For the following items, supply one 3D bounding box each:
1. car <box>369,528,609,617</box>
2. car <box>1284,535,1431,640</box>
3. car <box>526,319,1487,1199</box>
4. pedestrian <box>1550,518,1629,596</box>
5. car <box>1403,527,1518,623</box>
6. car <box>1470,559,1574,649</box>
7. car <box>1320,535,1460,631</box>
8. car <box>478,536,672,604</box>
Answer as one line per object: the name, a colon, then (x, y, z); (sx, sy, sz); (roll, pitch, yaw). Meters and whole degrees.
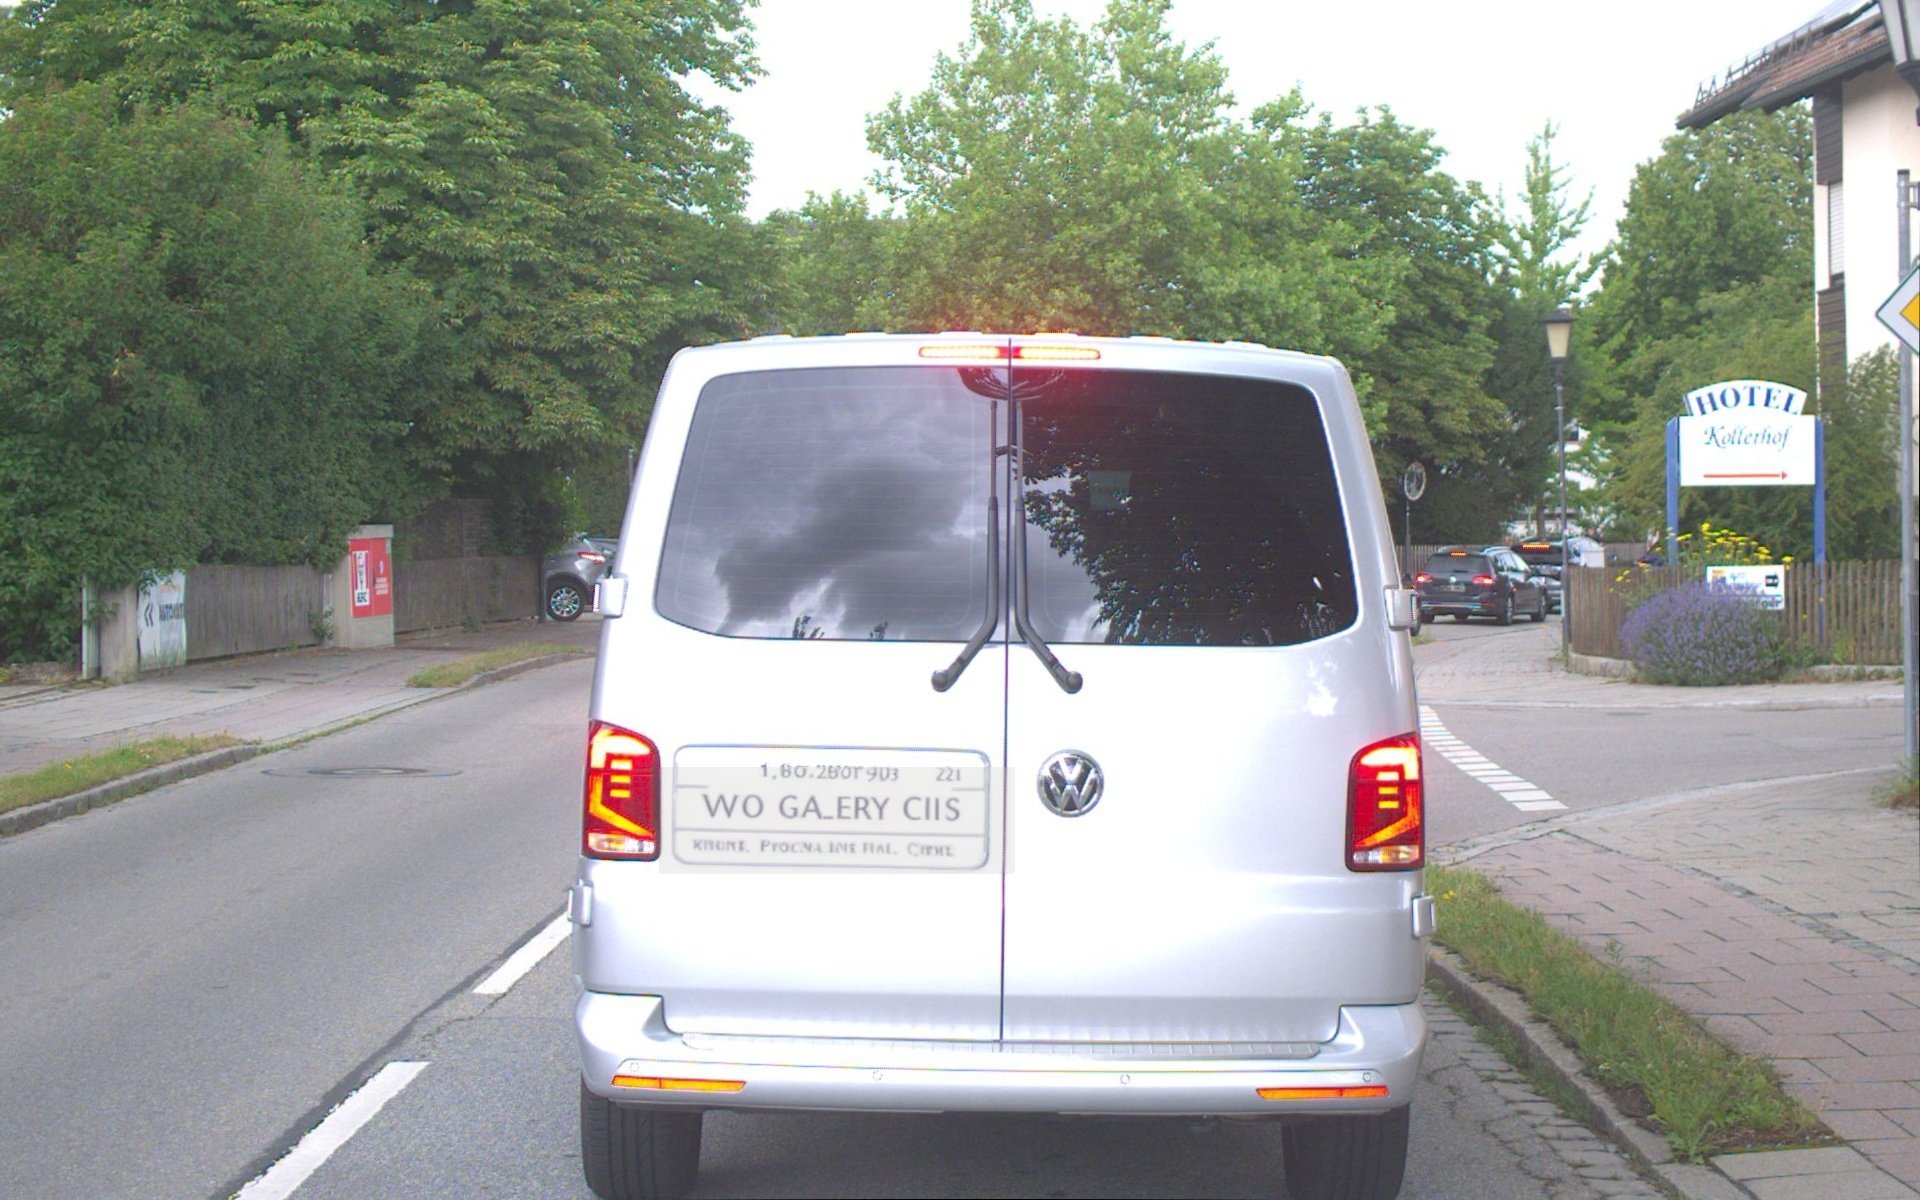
car: (-8.044, -0.479, 58.715); (3.986, 1.481, 2.001); (0, 1, -8)
car: (6.073, -0.214, 52.155); (1.882, 1.530, 3.919); (0, 1, 12)
car: (0.100, 0.387, 8.737); (1.881, 1.934, 3.921); (0, 1, 0)
pedestrian: (16.511, -1.138, 90.233); (1.359, 2.007, 1.520); (-1, 1, -39)
car: (9.574, -0.496, 65.547); (1.882, 1.742, 4.078); (-1, 1, 12)
car: (11.864, 0.062, 72.428); (1.882, 1.819, 3.918); (0, 1, 13)
car: (7.168, -0.299, 56.987); (1.882, 1.530, 3.918); (0, 1, 13)
car: (-7.736, -0.612, 68.964); (3.749, 1.341, 1.584); (0, 1, -10)
